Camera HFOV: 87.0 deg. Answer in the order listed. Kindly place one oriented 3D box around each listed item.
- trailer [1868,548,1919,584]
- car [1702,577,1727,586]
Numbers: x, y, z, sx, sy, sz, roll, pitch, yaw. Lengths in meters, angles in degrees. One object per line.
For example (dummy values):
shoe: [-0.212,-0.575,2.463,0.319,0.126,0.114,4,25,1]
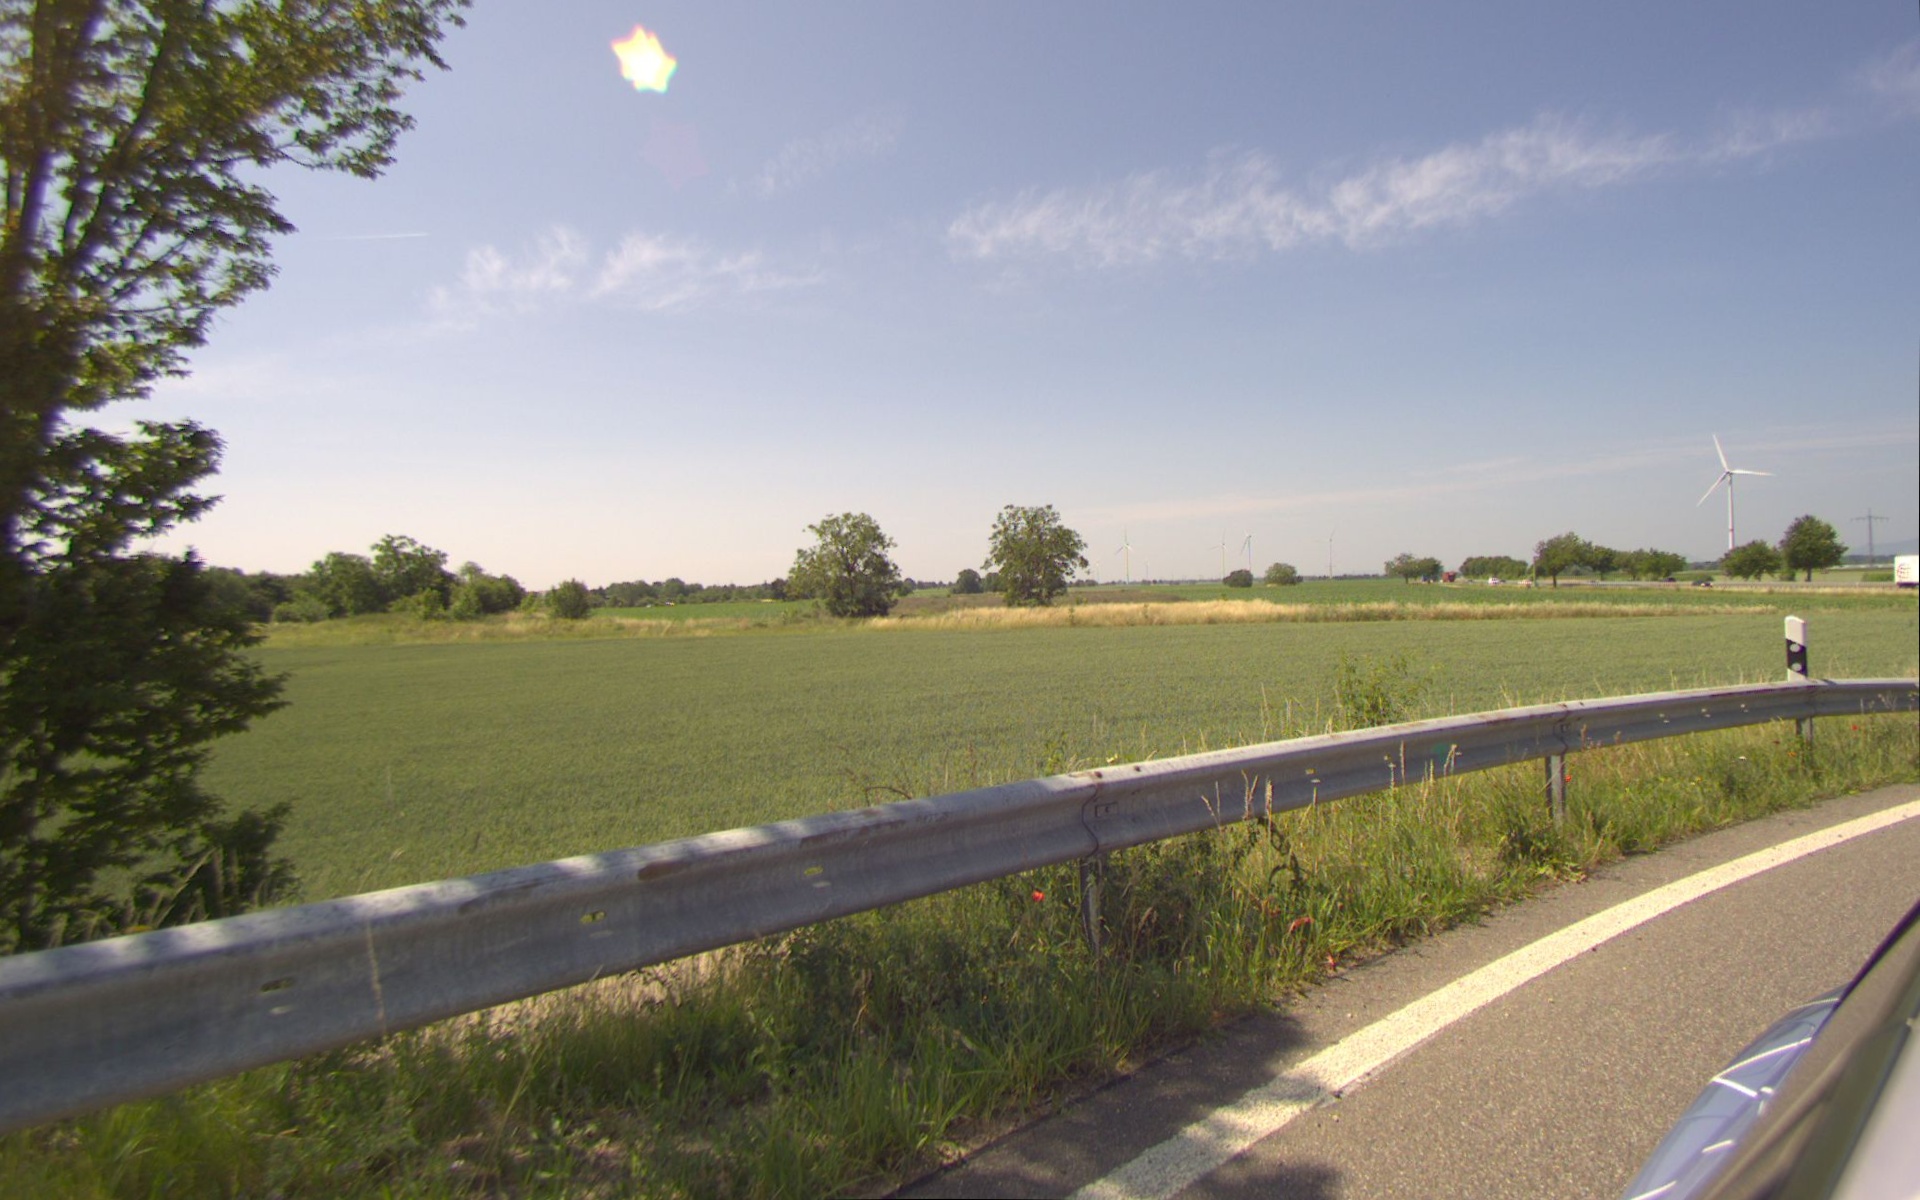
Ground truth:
trailer: [101.832,-3.581,105.737,3.052,3.689,14.478,-1,1,9]
car: [121.108,-3.017,162.482,1.654,1.371,3.990,-1,1,10]
